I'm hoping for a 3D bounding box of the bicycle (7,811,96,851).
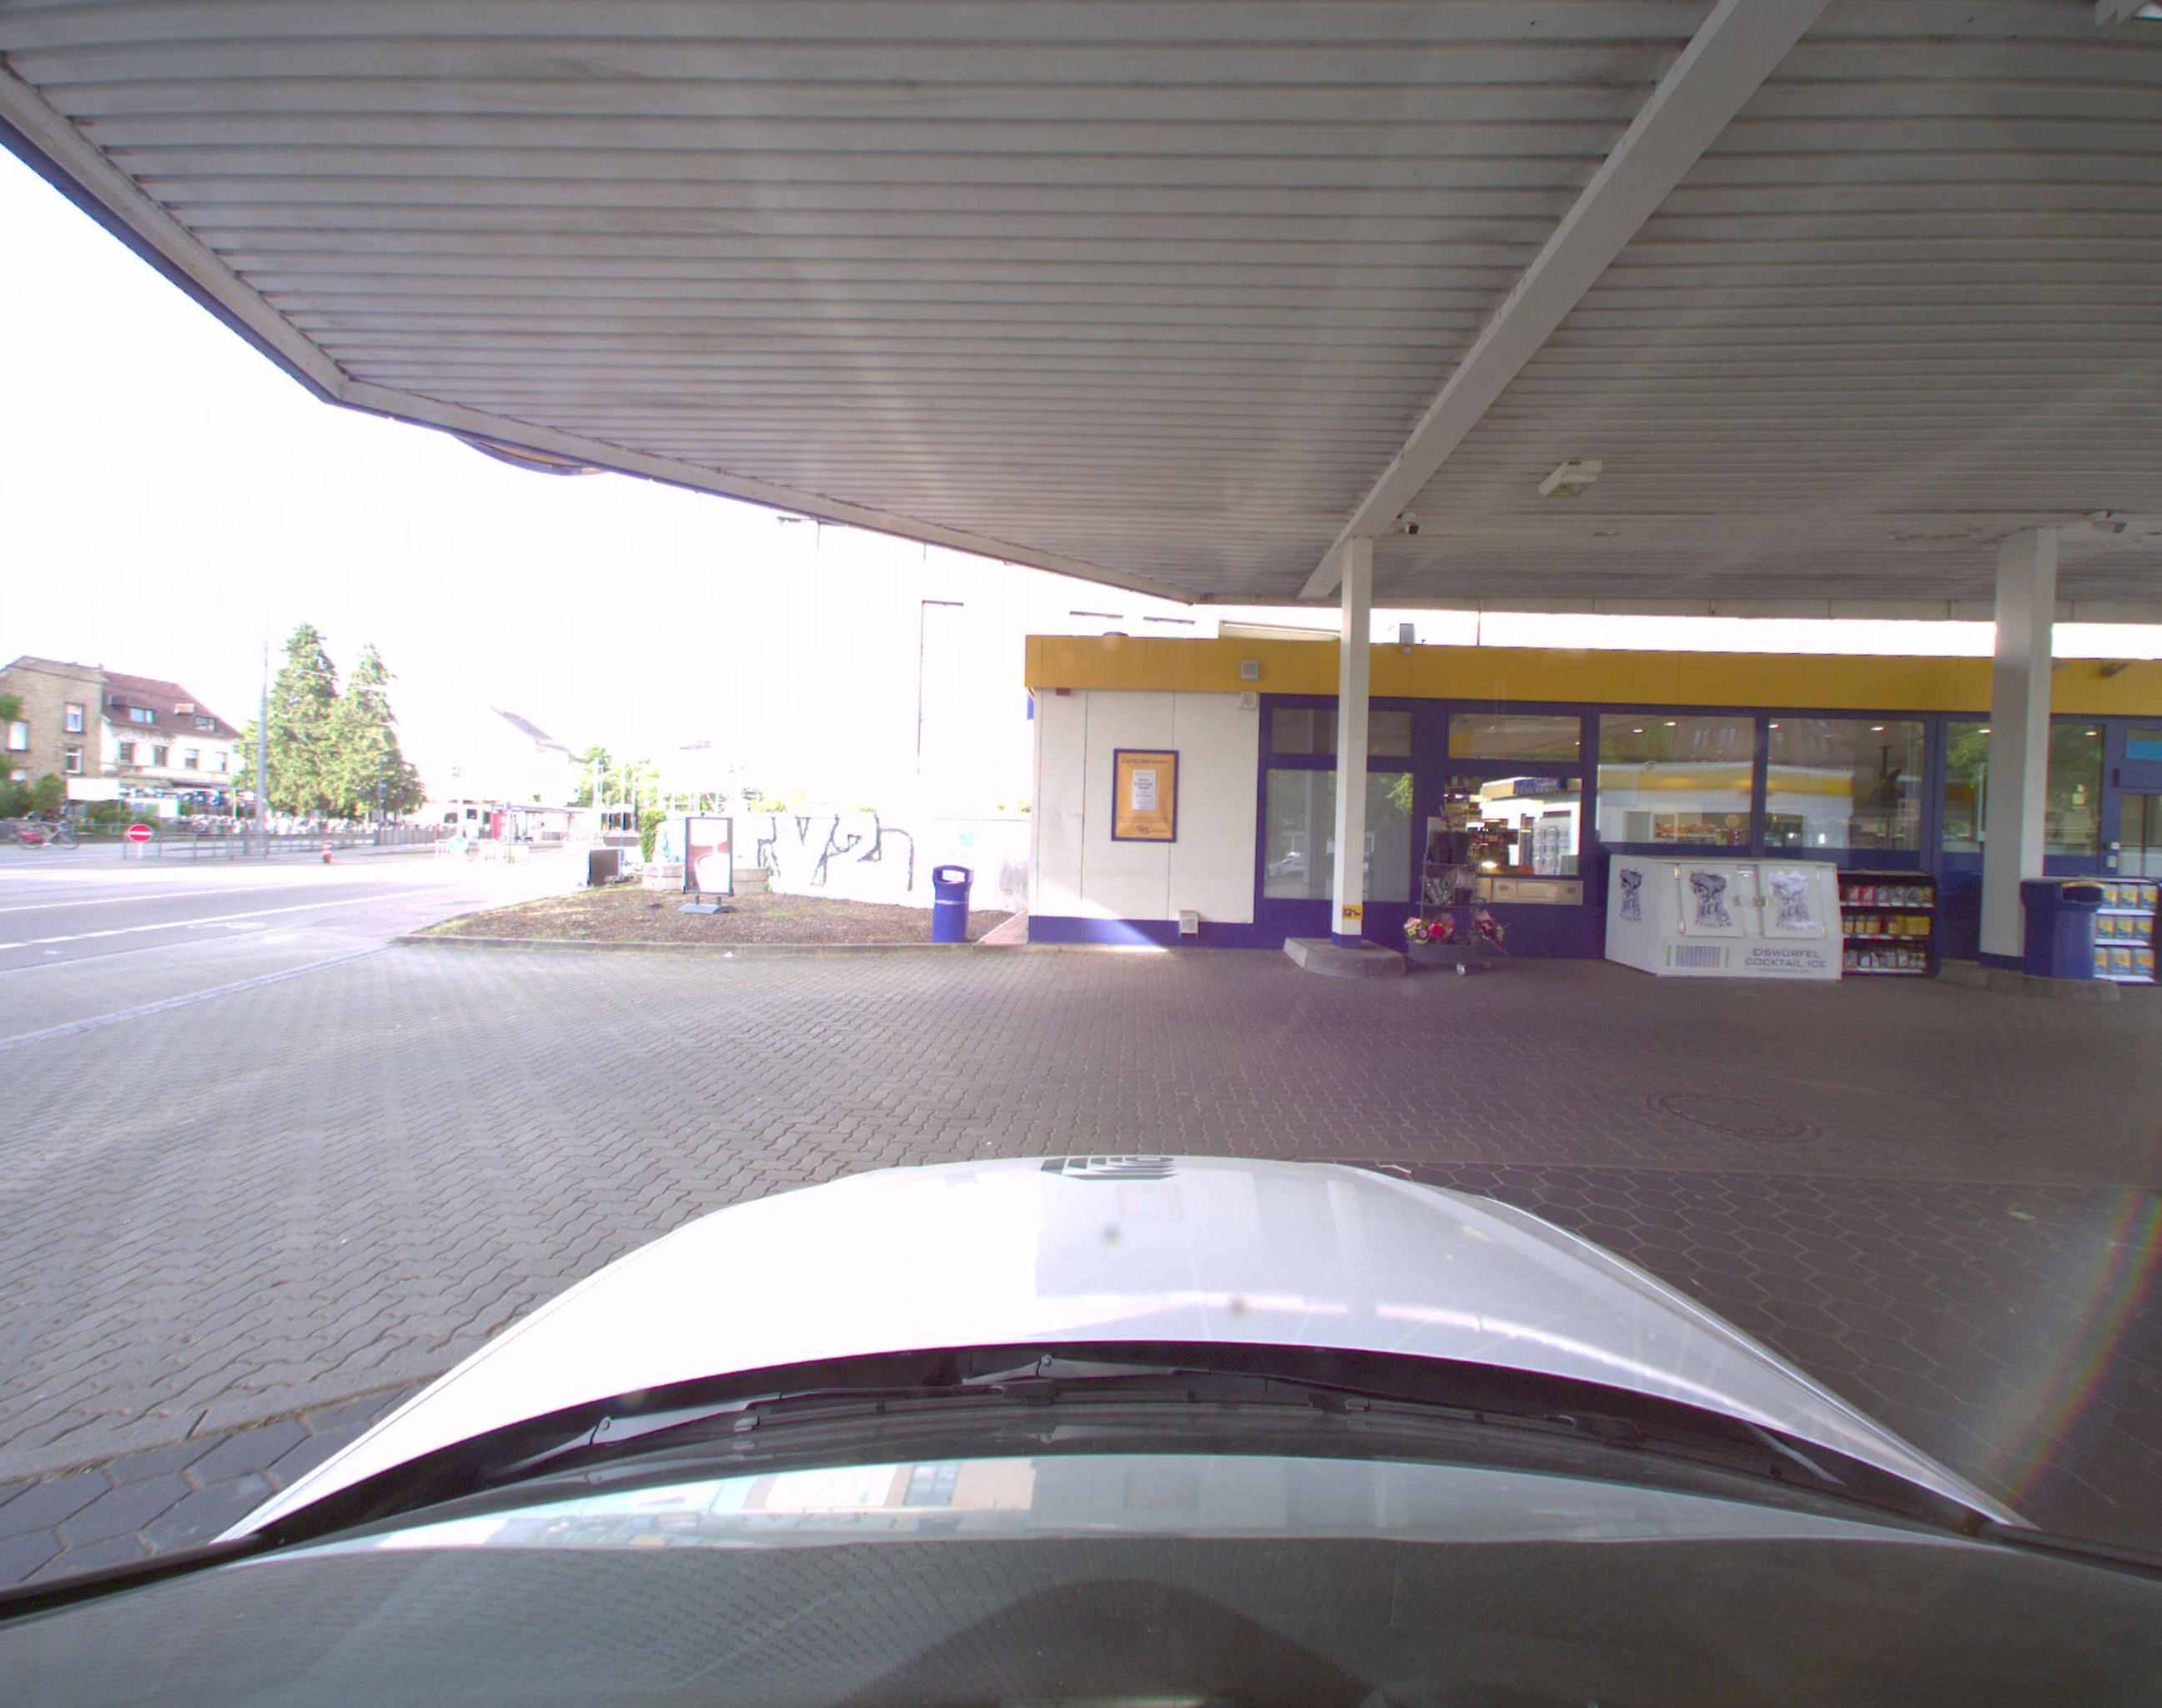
[{"bbox_3d":[-41.230,-0.905,32.644,0.781,1.492,1.998,4,0,12],"label":"bicycle"}]

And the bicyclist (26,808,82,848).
[{"bbox_3d":[-41.213,-1.039,32.694,0.781,1.492,1.099,4,0,11],"label":"bicyclist"}]
